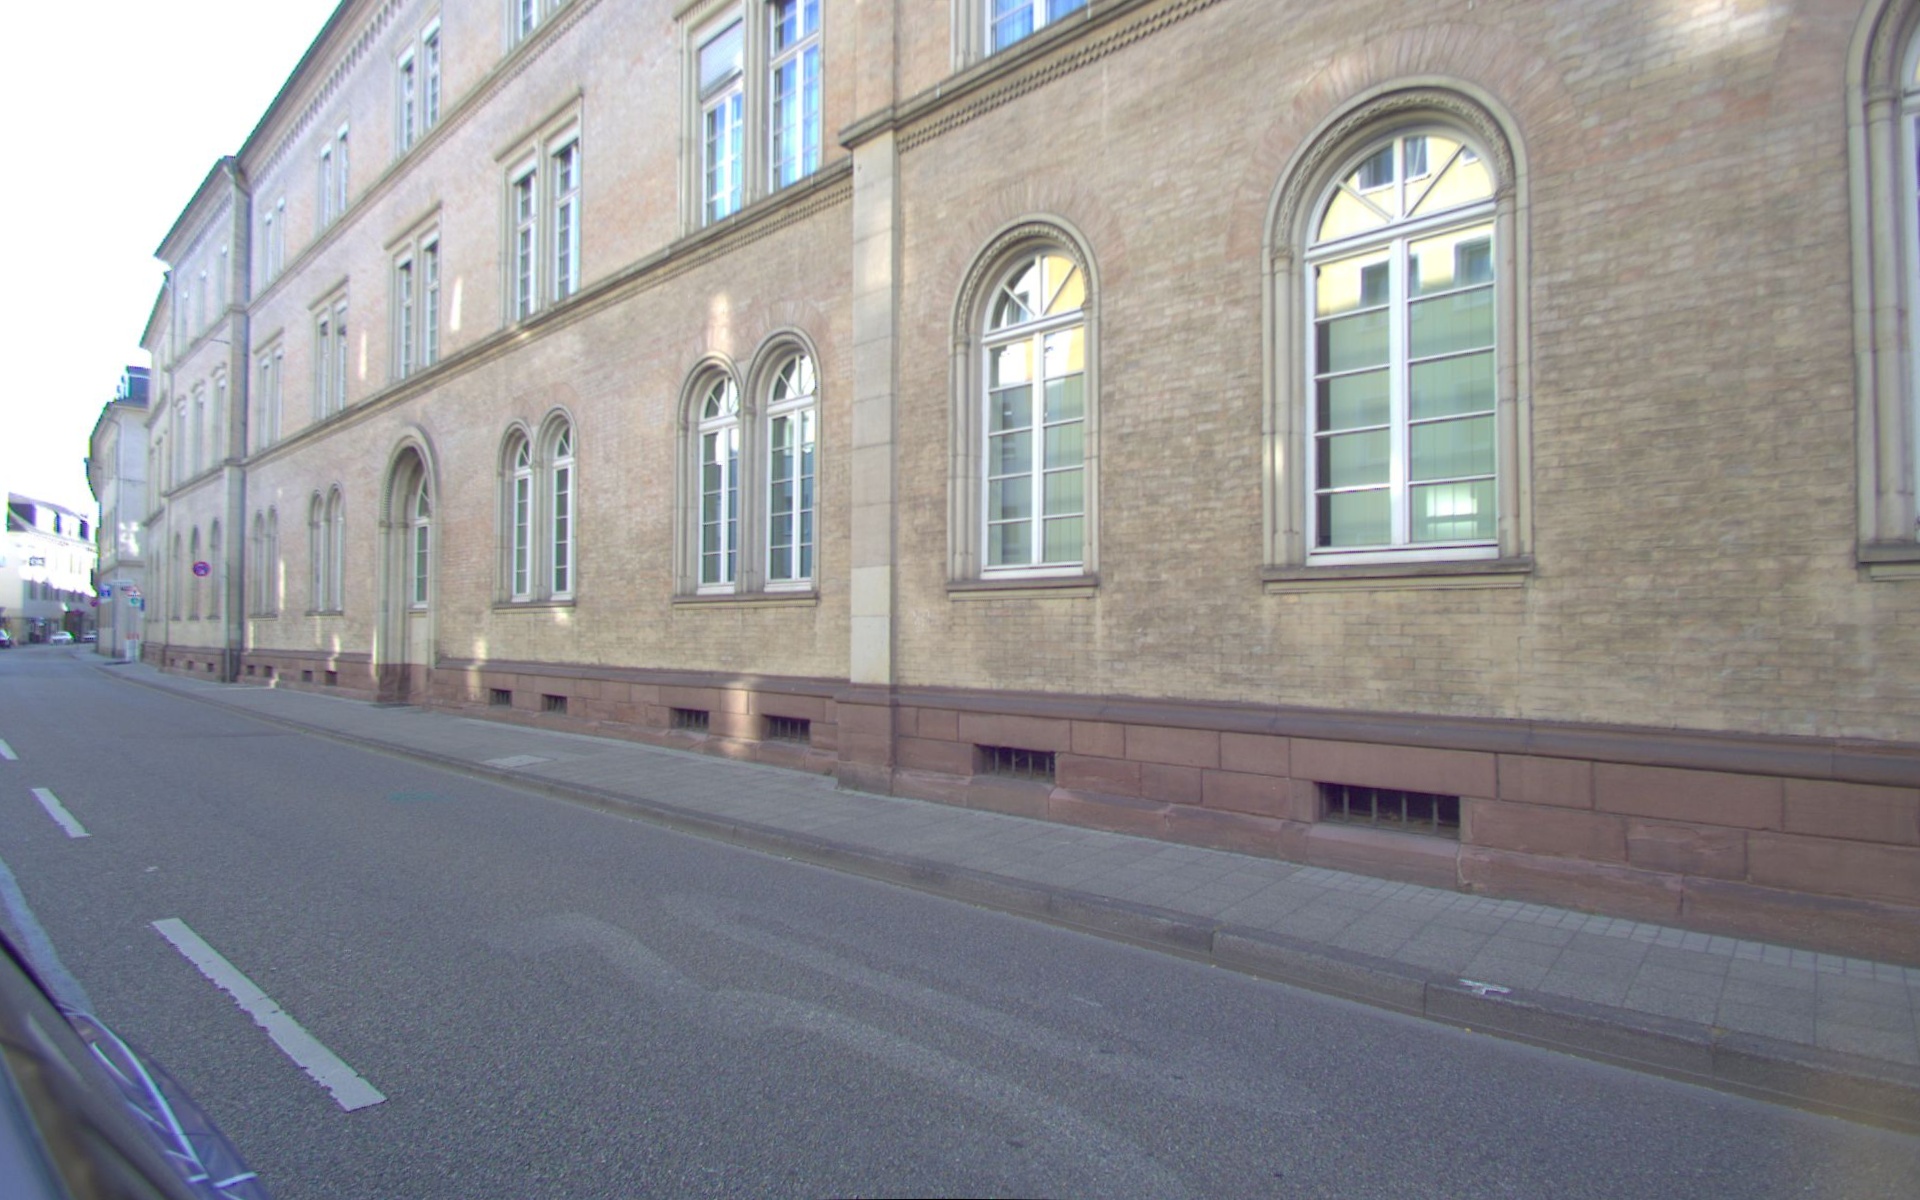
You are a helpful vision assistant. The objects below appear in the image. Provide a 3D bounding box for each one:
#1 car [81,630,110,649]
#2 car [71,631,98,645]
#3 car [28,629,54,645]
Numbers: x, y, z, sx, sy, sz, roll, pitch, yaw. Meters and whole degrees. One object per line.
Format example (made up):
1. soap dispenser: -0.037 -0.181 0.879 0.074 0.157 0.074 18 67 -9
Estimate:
1. car: -80.031 3.677 93.719 1.638 1.737 3.748 1 -2 -36
2. car: -109.309 4.769 126.390 1.896 1.737 4.242 1 -2 -31
3. car: -102.556 4.111 112.965 1.511 1.737 3.749 1 -2 -34
